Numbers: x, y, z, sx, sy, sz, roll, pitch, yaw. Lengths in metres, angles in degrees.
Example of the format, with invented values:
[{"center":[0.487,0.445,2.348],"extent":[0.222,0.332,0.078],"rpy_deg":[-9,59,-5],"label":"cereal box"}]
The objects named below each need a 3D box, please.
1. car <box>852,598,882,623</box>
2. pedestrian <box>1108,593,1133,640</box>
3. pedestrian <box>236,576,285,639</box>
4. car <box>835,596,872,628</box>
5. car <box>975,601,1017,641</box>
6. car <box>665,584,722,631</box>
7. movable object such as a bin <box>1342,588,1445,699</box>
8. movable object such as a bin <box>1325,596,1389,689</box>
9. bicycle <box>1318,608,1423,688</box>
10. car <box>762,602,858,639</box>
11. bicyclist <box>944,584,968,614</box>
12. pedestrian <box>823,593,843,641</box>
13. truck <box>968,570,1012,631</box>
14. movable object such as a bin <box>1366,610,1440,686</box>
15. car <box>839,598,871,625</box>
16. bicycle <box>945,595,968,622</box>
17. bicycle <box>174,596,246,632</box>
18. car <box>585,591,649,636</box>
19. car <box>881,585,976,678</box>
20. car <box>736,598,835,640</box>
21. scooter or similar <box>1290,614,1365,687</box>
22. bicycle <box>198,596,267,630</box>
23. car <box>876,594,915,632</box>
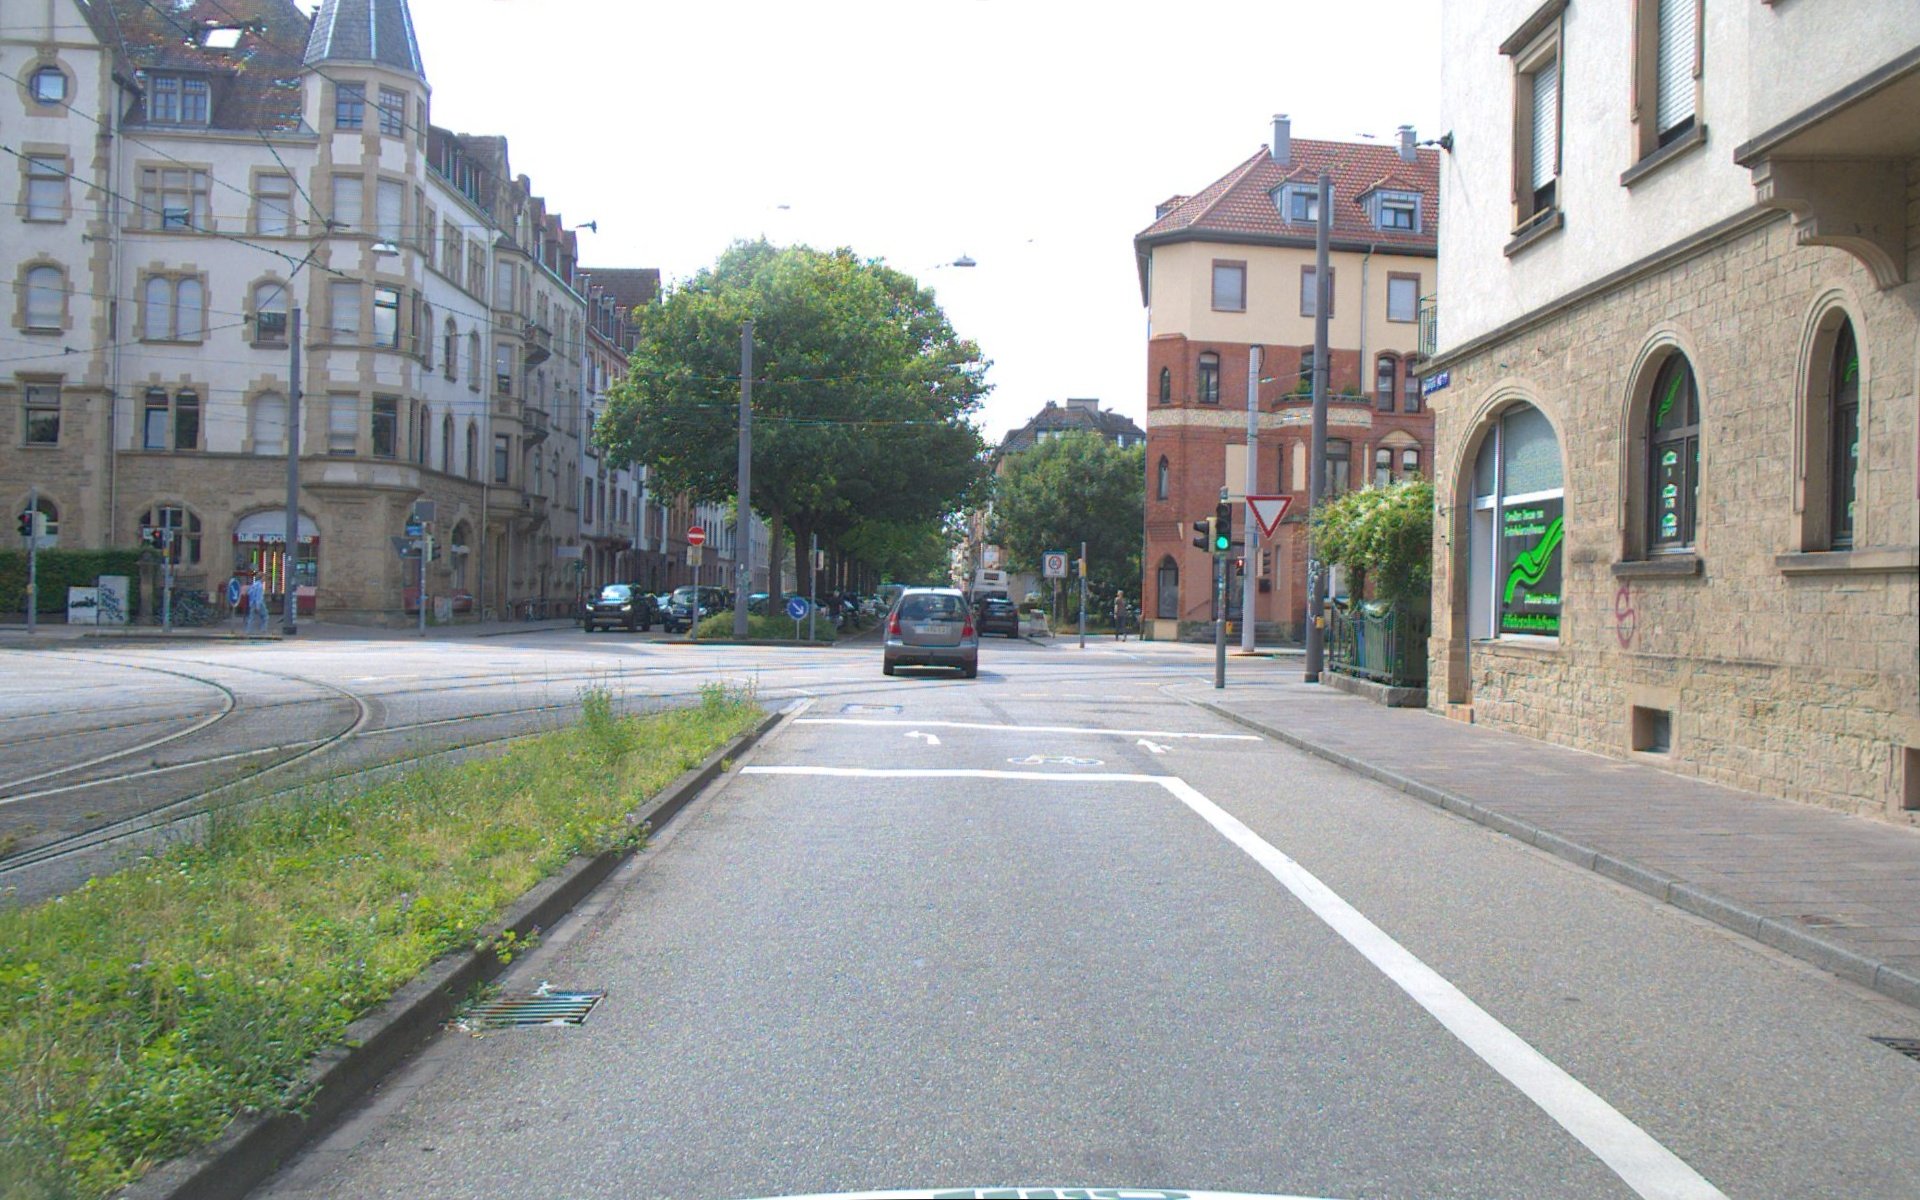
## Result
[{"center":[-6.084,0.679,108.579],"extent":[1.716,1.543,3.499],"rpy_deg":[1,0,0],"label":"car"},{"center":[5.856,0.611,60.281],"extent":[0.851,1.685,0.736],"rpy_deg":[1,0,4],"label":"pedestrian"},{"center":[-19.592,0.217,46.315],"extent":[0.763,1.752,1.016],"rpy_deg":[1,0,45],"label":"pedestrian"},{"center":[-5.654,0.622,87.835],"extent":[1.716,1.661,3.499],"rpy_deg":[1,0,0],"label":"car"},{"center":[1.584,0.884,71.691],"extent":[1.715,1.661,3.500],"rpy_deg":[1,0,3],"label":"car"},{"center":[-10.422,0.286,64.963],"extent":[1.955,1.758,3.995],"rpy_deg":[0,0,-6],"label":"car"},{"center":[6.438,0.624,24.673],"extent":[1.028,1.566,2.100],"rpy_deg":[0,0,1],"label":"movable object such as a bin"},{"center":[6.543,0.689,27.298],"extent":[0.701,1.497,0.980],"rpy_deg":[0,0,-9],"label":"movable object such as a bin"},{"center":[6.965,0.809,28.058],"extent":[1.795,1.352,0.276],"rpy_deg":[0,-1,-11],"label":"bicycle"},{"center":[-6.023,0.812,66.305],"extent":[1.956,1.362,3.943],"rpy_deg":[1,0,-40],"label":"car"},{"center":[-0.135,-0.028,61.710],"extent":[0.819,1.101,1.400],"rpy_deg":[0,0,3],"label":"bicyclist"},{"center":[-4.766,0.631,62.059],"extent":[0.638,1.755,0.495],"rpy_deg":[1,0,3],"label":"pedestrian"},{"center":[1.574,0.033,84.598],"extent":[2.078,3.022,4.001],"rpy_deg":[0,0,3],"label":"truck"},{"center":[7.023,0.754,26.258],"extent":[1.007,1.195,0.659],"rpy_deg":[0,0,1],"label":"movable object such as a bin"},{"center":[-6.441,0.696,101.751],"extent":[1.716,1.543,3.499],"rpy_deg":[1,0,0],"label":"car"},{"center":[-0.132,0.302,61.712],"extent":[0.733,0.975,2.299],"rpy_deg":[0,0,3],"label":"bicycle"},{"center":[-23.204,0.423,51.203],"extent":[1.882,1.100,0.776],"rpy_deg":[0,0,-12],"label":"bicycle"},{"center":[-13.097,0.497,63.334],"extent":[1.955,1.646,3.995],"rpy_deg":[0,0,-6],"label":"car"},{"center":[-0.563,0.565,31.263],"extent":[1.687,1.634,3.677],"rpy_deg":[0,0,0],"label":"car"},{"center":[-6.745,0.722,63.677],"extent":[1.956,1.521,3.943],"rpy_deg":[1,0,-40],"label":"car"},{"center":[6.293,0.861,28.357],"extent":[1.171,1.238,0.462],"rpy_deg":[0,0,-8],"label":"scooter or similar"},{"center":[-23.554,0.429,53.577],"extent":[1.882,1.100,0.776],"rpy_deg":[0,0,-12],"label":"bicycle"},{"center":[-3.008,0.594,78.034],"extent":[1.687,1.736,3.677],"rpy_deg":[0,0,0],"label":"car"}]
